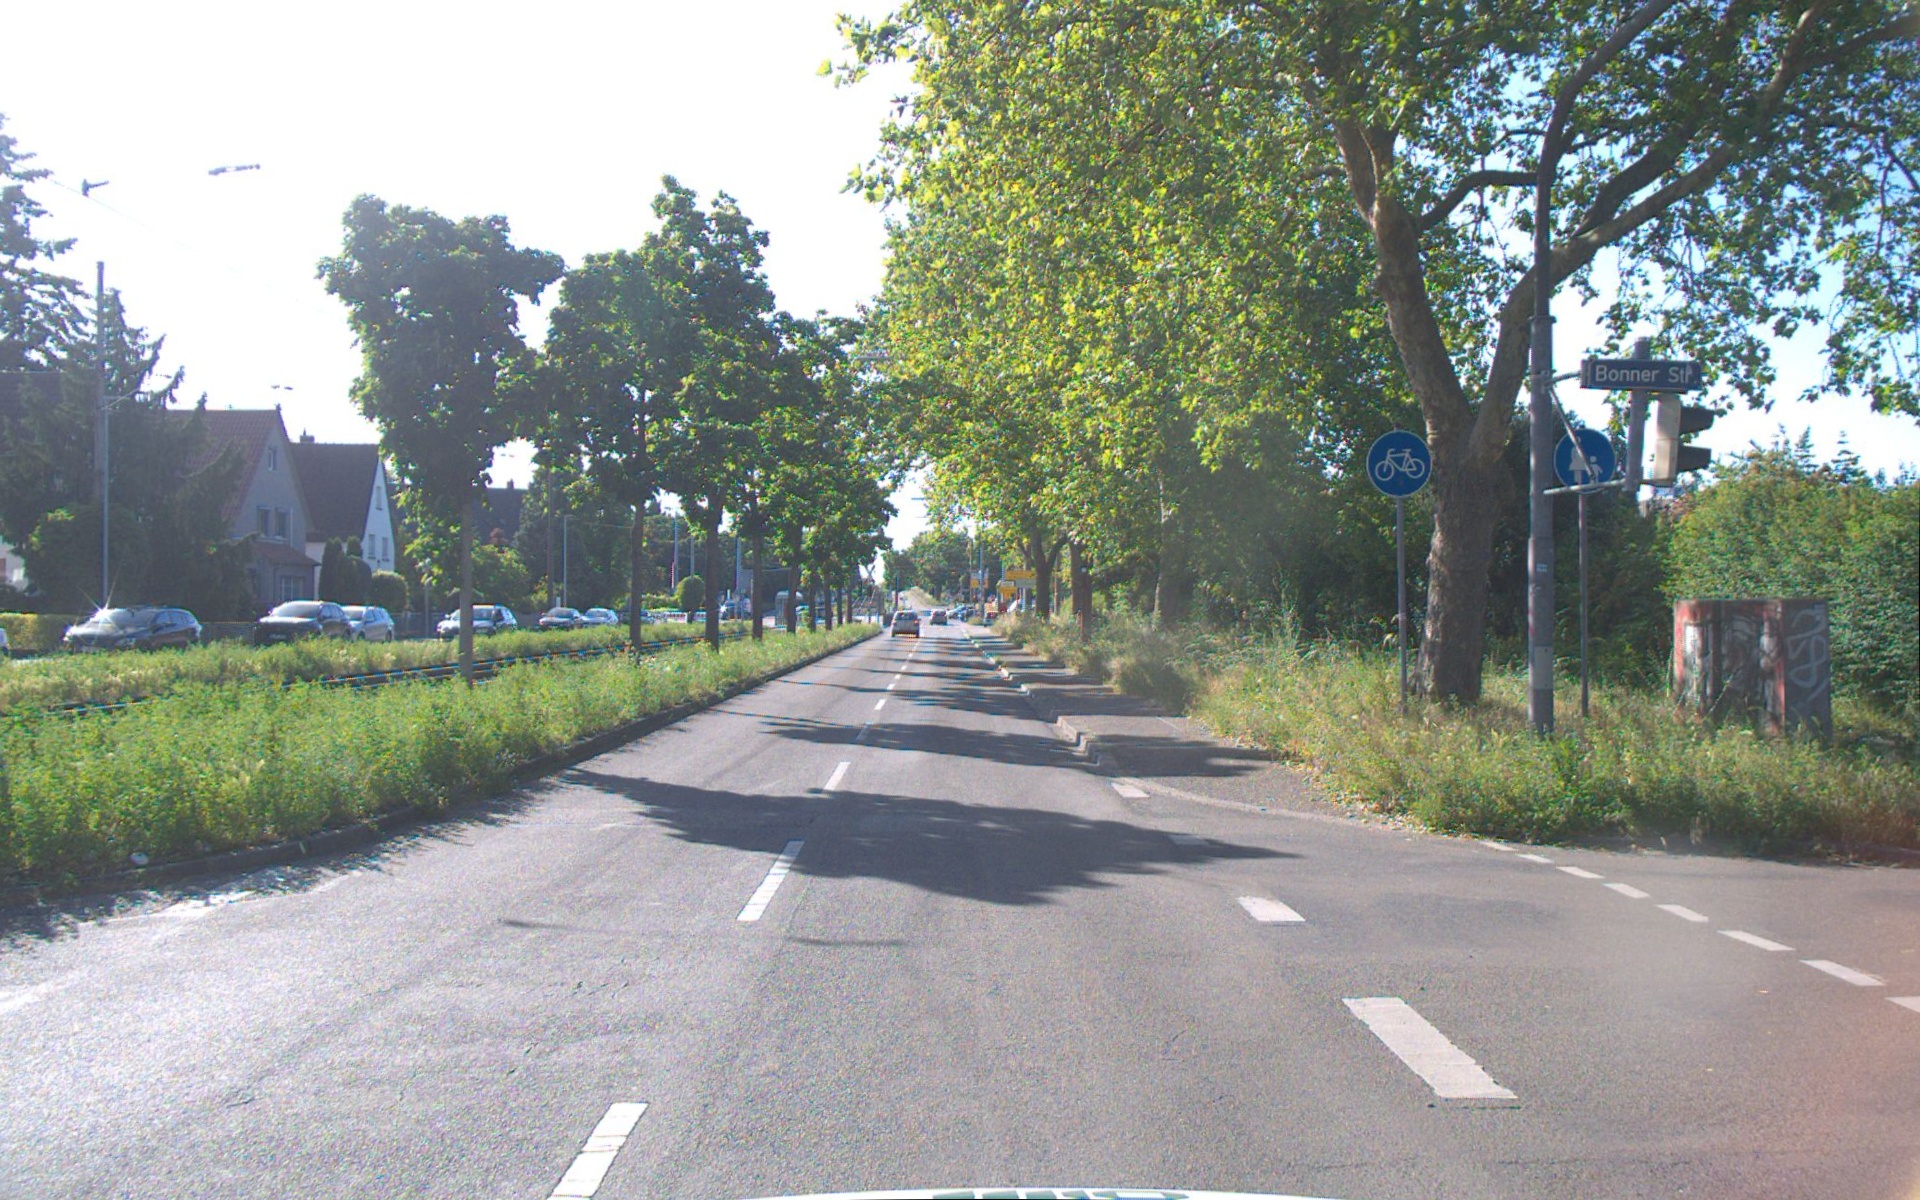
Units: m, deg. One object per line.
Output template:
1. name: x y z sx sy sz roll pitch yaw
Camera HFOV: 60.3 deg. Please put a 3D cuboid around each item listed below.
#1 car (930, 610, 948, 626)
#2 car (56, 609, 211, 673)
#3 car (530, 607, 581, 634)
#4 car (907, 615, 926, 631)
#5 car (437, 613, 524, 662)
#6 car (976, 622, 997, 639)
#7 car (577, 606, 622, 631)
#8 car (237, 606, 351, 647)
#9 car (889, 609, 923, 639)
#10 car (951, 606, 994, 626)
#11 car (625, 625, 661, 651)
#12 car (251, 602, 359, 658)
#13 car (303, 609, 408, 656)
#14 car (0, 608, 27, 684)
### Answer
1. car: -2.188 1.889 171.908 1.755 1.586 4.226 2 -1 -1
2. car: -21.099 1.031 42.459 1.694 1.491 4.601 2 -1 -1
3. car: -22.270 1.129 91.278 1.822 1.438 4.157 2 -1 -1
4. car: -4.603 2.445 177.095 1.953 1.632 4.472 2 -1 -1
5. car: -16.497 1.279 57.133 1.627 1.579 4.809 2 -1 -1
6. car: 2.615 2.994 164.141 1.953 1.632 4.472 2 -1 -1
7. car: -22.064 1.152 101.316 1.822 1.456 4.460 2 -1 -1
8. car: -27.199 1.059 67.653 3.839 1.478 1.888 2 1 -1
9. car: -3.027 1.371 93.983 1.822 1.629 4.226 2 -1 -1
10. car: 1.624 2.048 210.303 5.082 2.315 1.985 2 -1 -25
11. car: -22.276 2.626 116.368 1.742 1.737 4.226 2 -1 -1
12. car: -21.191 0.963 53.712 1.712 1.679 4.554 2 -1 -1
13. car: -21.511 1.154 59.038 1.953 1.572 4.779 2 -1 0
14. car: -21.033 0.925 33.536 1.822 1.569 4.226 2 -1 -1
